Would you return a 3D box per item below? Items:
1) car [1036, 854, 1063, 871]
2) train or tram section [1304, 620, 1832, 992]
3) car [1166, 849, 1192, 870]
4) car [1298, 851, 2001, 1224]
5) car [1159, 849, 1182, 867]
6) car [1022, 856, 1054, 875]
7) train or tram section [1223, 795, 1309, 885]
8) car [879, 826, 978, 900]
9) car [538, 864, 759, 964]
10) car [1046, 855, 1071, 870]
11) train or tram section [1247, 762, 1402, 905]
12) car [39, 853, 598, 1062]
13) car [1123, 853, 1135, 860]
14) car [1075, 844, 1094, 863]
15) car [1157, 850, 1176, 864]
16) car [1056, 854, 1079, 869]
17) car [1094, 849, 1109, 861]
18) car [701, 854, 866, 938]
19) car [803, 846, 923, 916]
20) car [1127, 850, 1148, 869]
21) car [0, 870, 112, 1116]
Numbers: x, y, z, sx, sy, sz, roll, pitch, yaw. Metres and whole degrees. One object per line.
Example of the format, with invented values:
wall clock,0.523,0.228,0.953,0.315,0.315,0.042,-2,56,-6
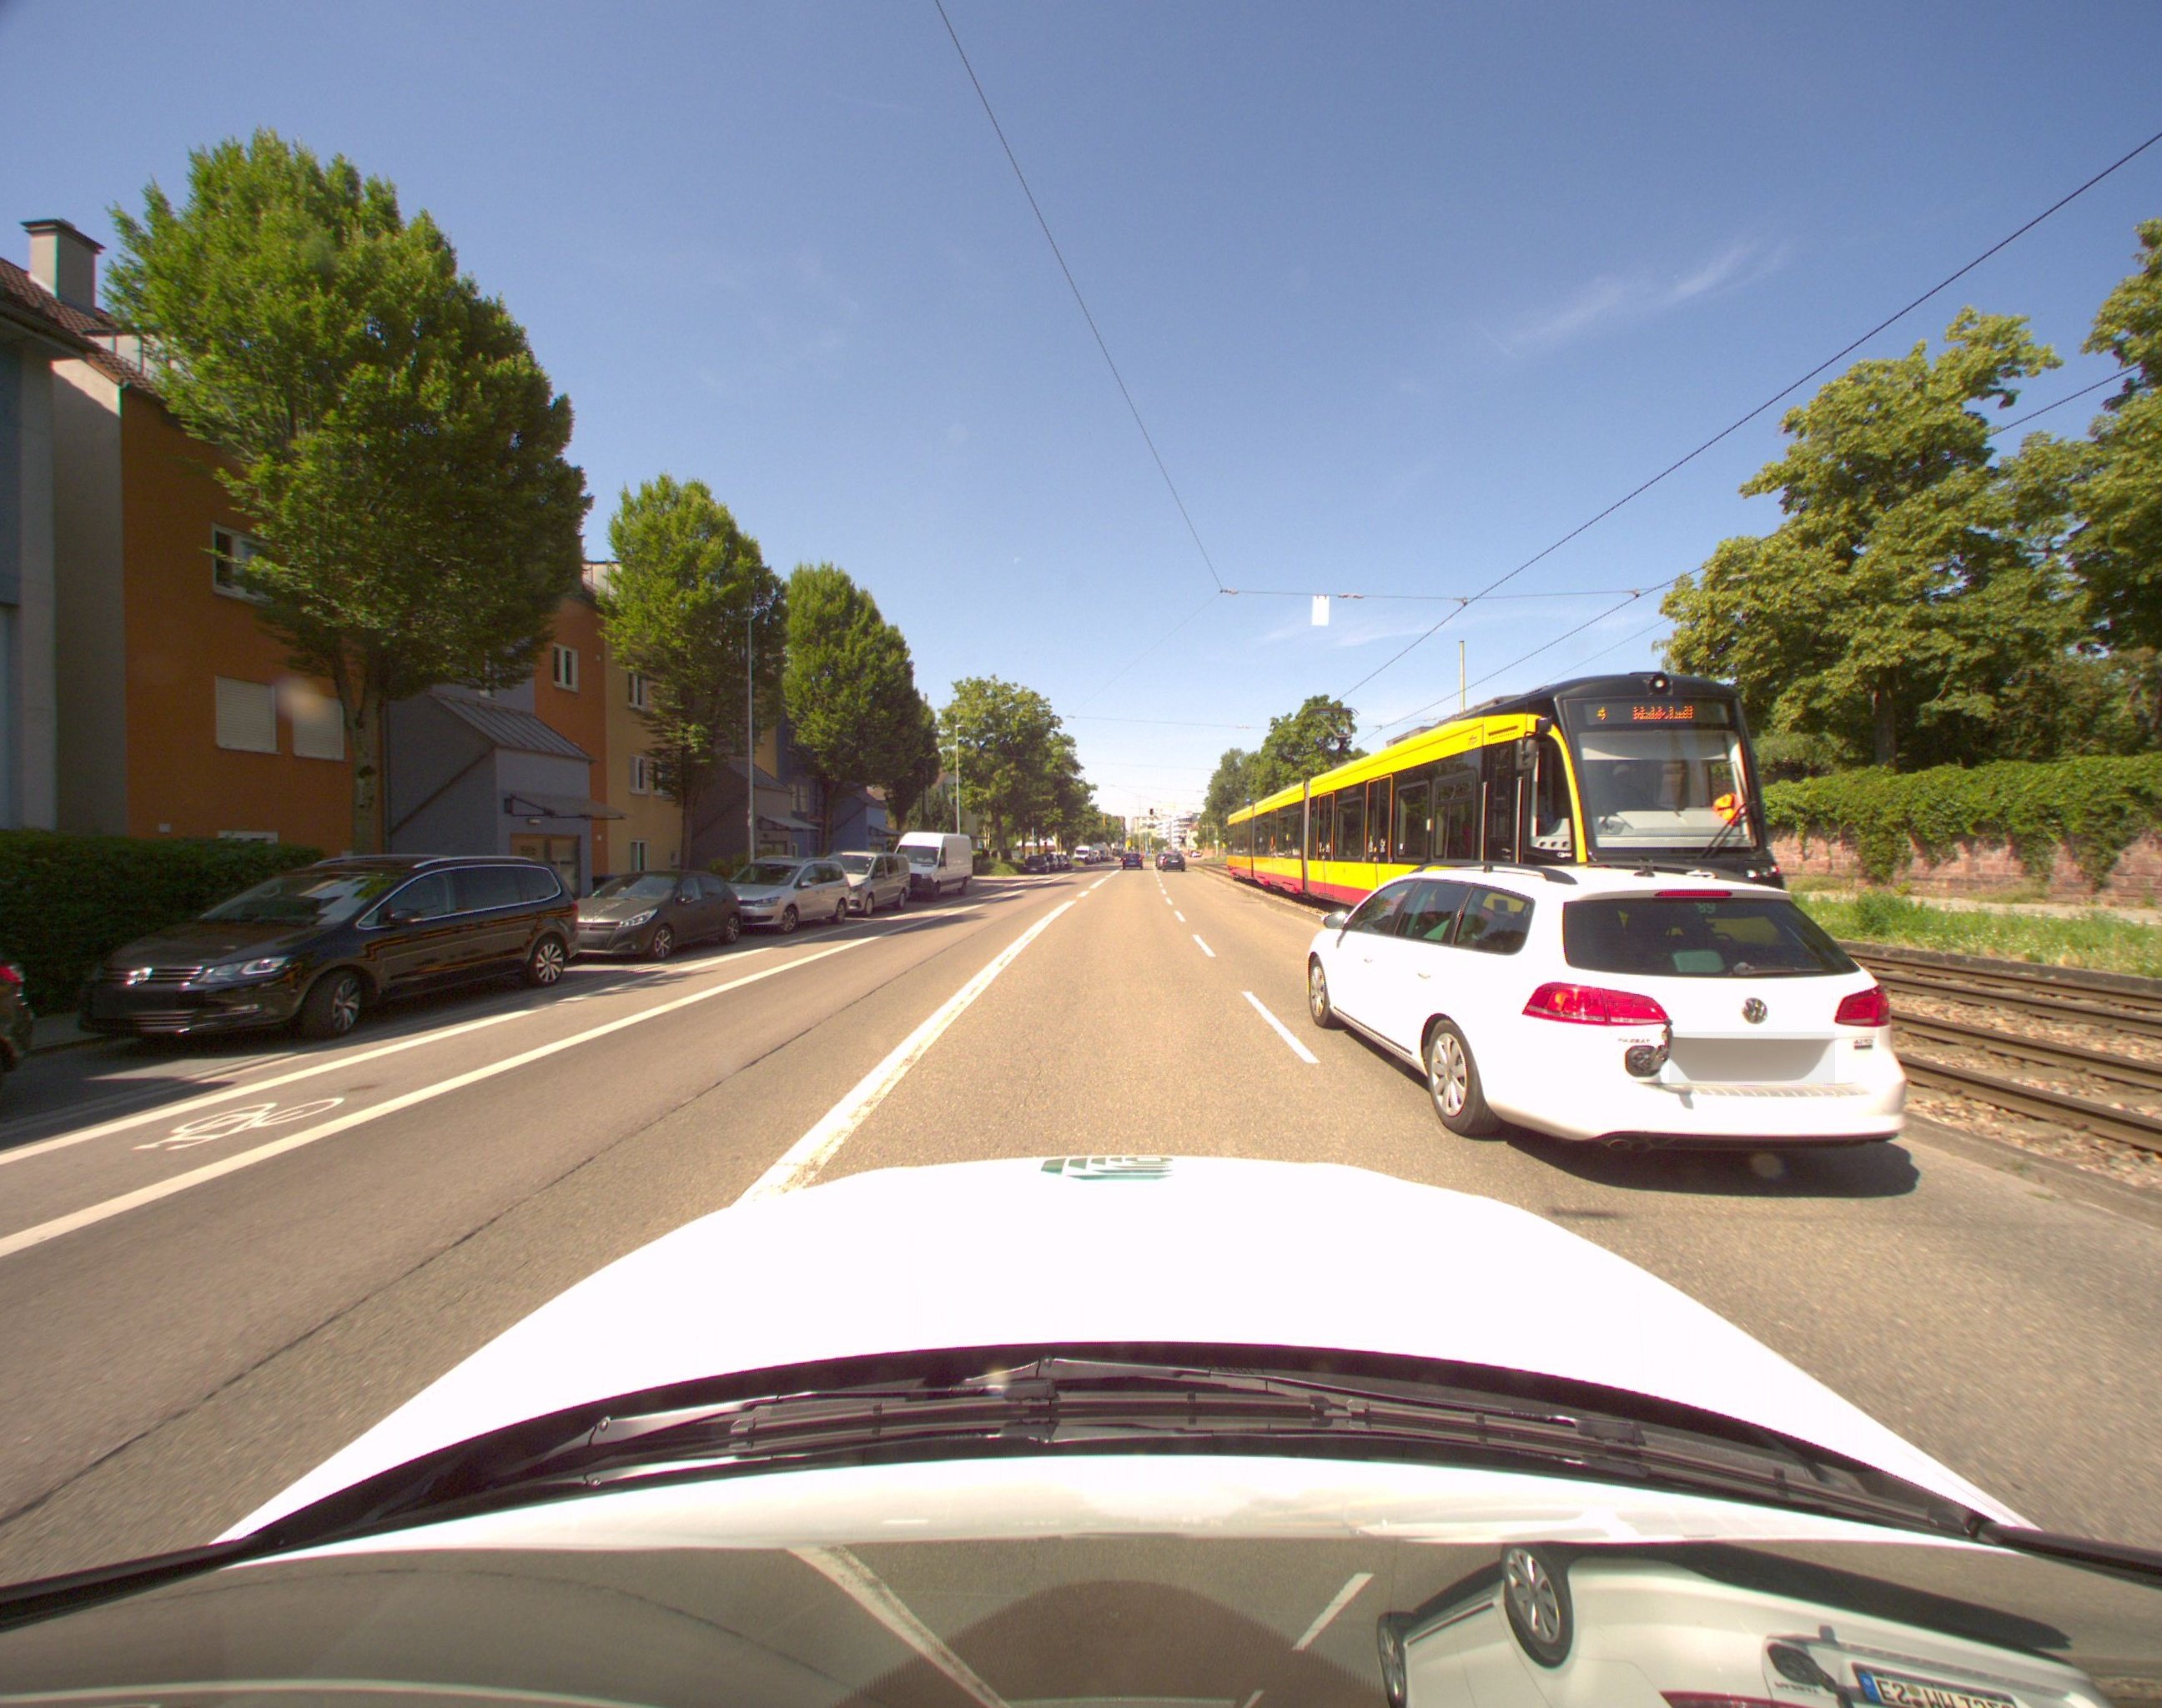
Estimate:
car,-2.739,0.726,71.853,1.690,1.482,4.009,-1,0,8
train or tram section,6.770,-0.510,14.962,2.500,3.747,13.324,-1,0,4
car,7.362,0.362,61.651,1.792,1.507,4.005,0,1,4
car,2.863,0.727,5.484,1.685,1.451,4.459,-1,0,1
car,7.509,0.322,68.826,1.792,1.460,4.005,0,1,4
car,-3.348,0.903,64.223,1.690,1.417,4.009,-1,0,8
train or tram section,9.032,-0.631,41.292,2.499,3.747,13.331,-1,0,5
car,-6.110,0.331,33.776,1.985,2.714,7.168,2,0,6
car,-7.627,0.971,14.873,1.684,1.474,4.051,2,0,2
car,-2.067,0.762,77.234,1.690,1.352,4.009,-1,0,8
train or tram section,7.789,-0.568,28.186,2.499,3.747,13.330,-1,0,5
car,-7.848,0.871,9.280,1.764,1.723,4.869,1,0,0
car,8.324,0.449,141.088,1.691,1.273,4.008,-1,0,7
car,0.567,-0.055,111.437,1.869,2.415,5.128,-1,0,8
car,8.806,0.287,83.920,1.792,1.460,4.005,-1,0,4
car,-1.308,0.743,82.509,1.690,1.352,4.009,-1,0,8
car,3.381,0.171,131.804,1.816,1.867,4.735,-1,0,8
car,-7.053,0.899,19.953,1.792,1.724,4.917,2,0,5
car,-6.729,0.763,25.821,1.911,1.948,5.361,2,0,4
car,4.873,0.419,70.286,1.792,1.507,4.005,0,1,4
car,-8.109,0.943,3.906,1.711,1.625,4.313,0,0,1
